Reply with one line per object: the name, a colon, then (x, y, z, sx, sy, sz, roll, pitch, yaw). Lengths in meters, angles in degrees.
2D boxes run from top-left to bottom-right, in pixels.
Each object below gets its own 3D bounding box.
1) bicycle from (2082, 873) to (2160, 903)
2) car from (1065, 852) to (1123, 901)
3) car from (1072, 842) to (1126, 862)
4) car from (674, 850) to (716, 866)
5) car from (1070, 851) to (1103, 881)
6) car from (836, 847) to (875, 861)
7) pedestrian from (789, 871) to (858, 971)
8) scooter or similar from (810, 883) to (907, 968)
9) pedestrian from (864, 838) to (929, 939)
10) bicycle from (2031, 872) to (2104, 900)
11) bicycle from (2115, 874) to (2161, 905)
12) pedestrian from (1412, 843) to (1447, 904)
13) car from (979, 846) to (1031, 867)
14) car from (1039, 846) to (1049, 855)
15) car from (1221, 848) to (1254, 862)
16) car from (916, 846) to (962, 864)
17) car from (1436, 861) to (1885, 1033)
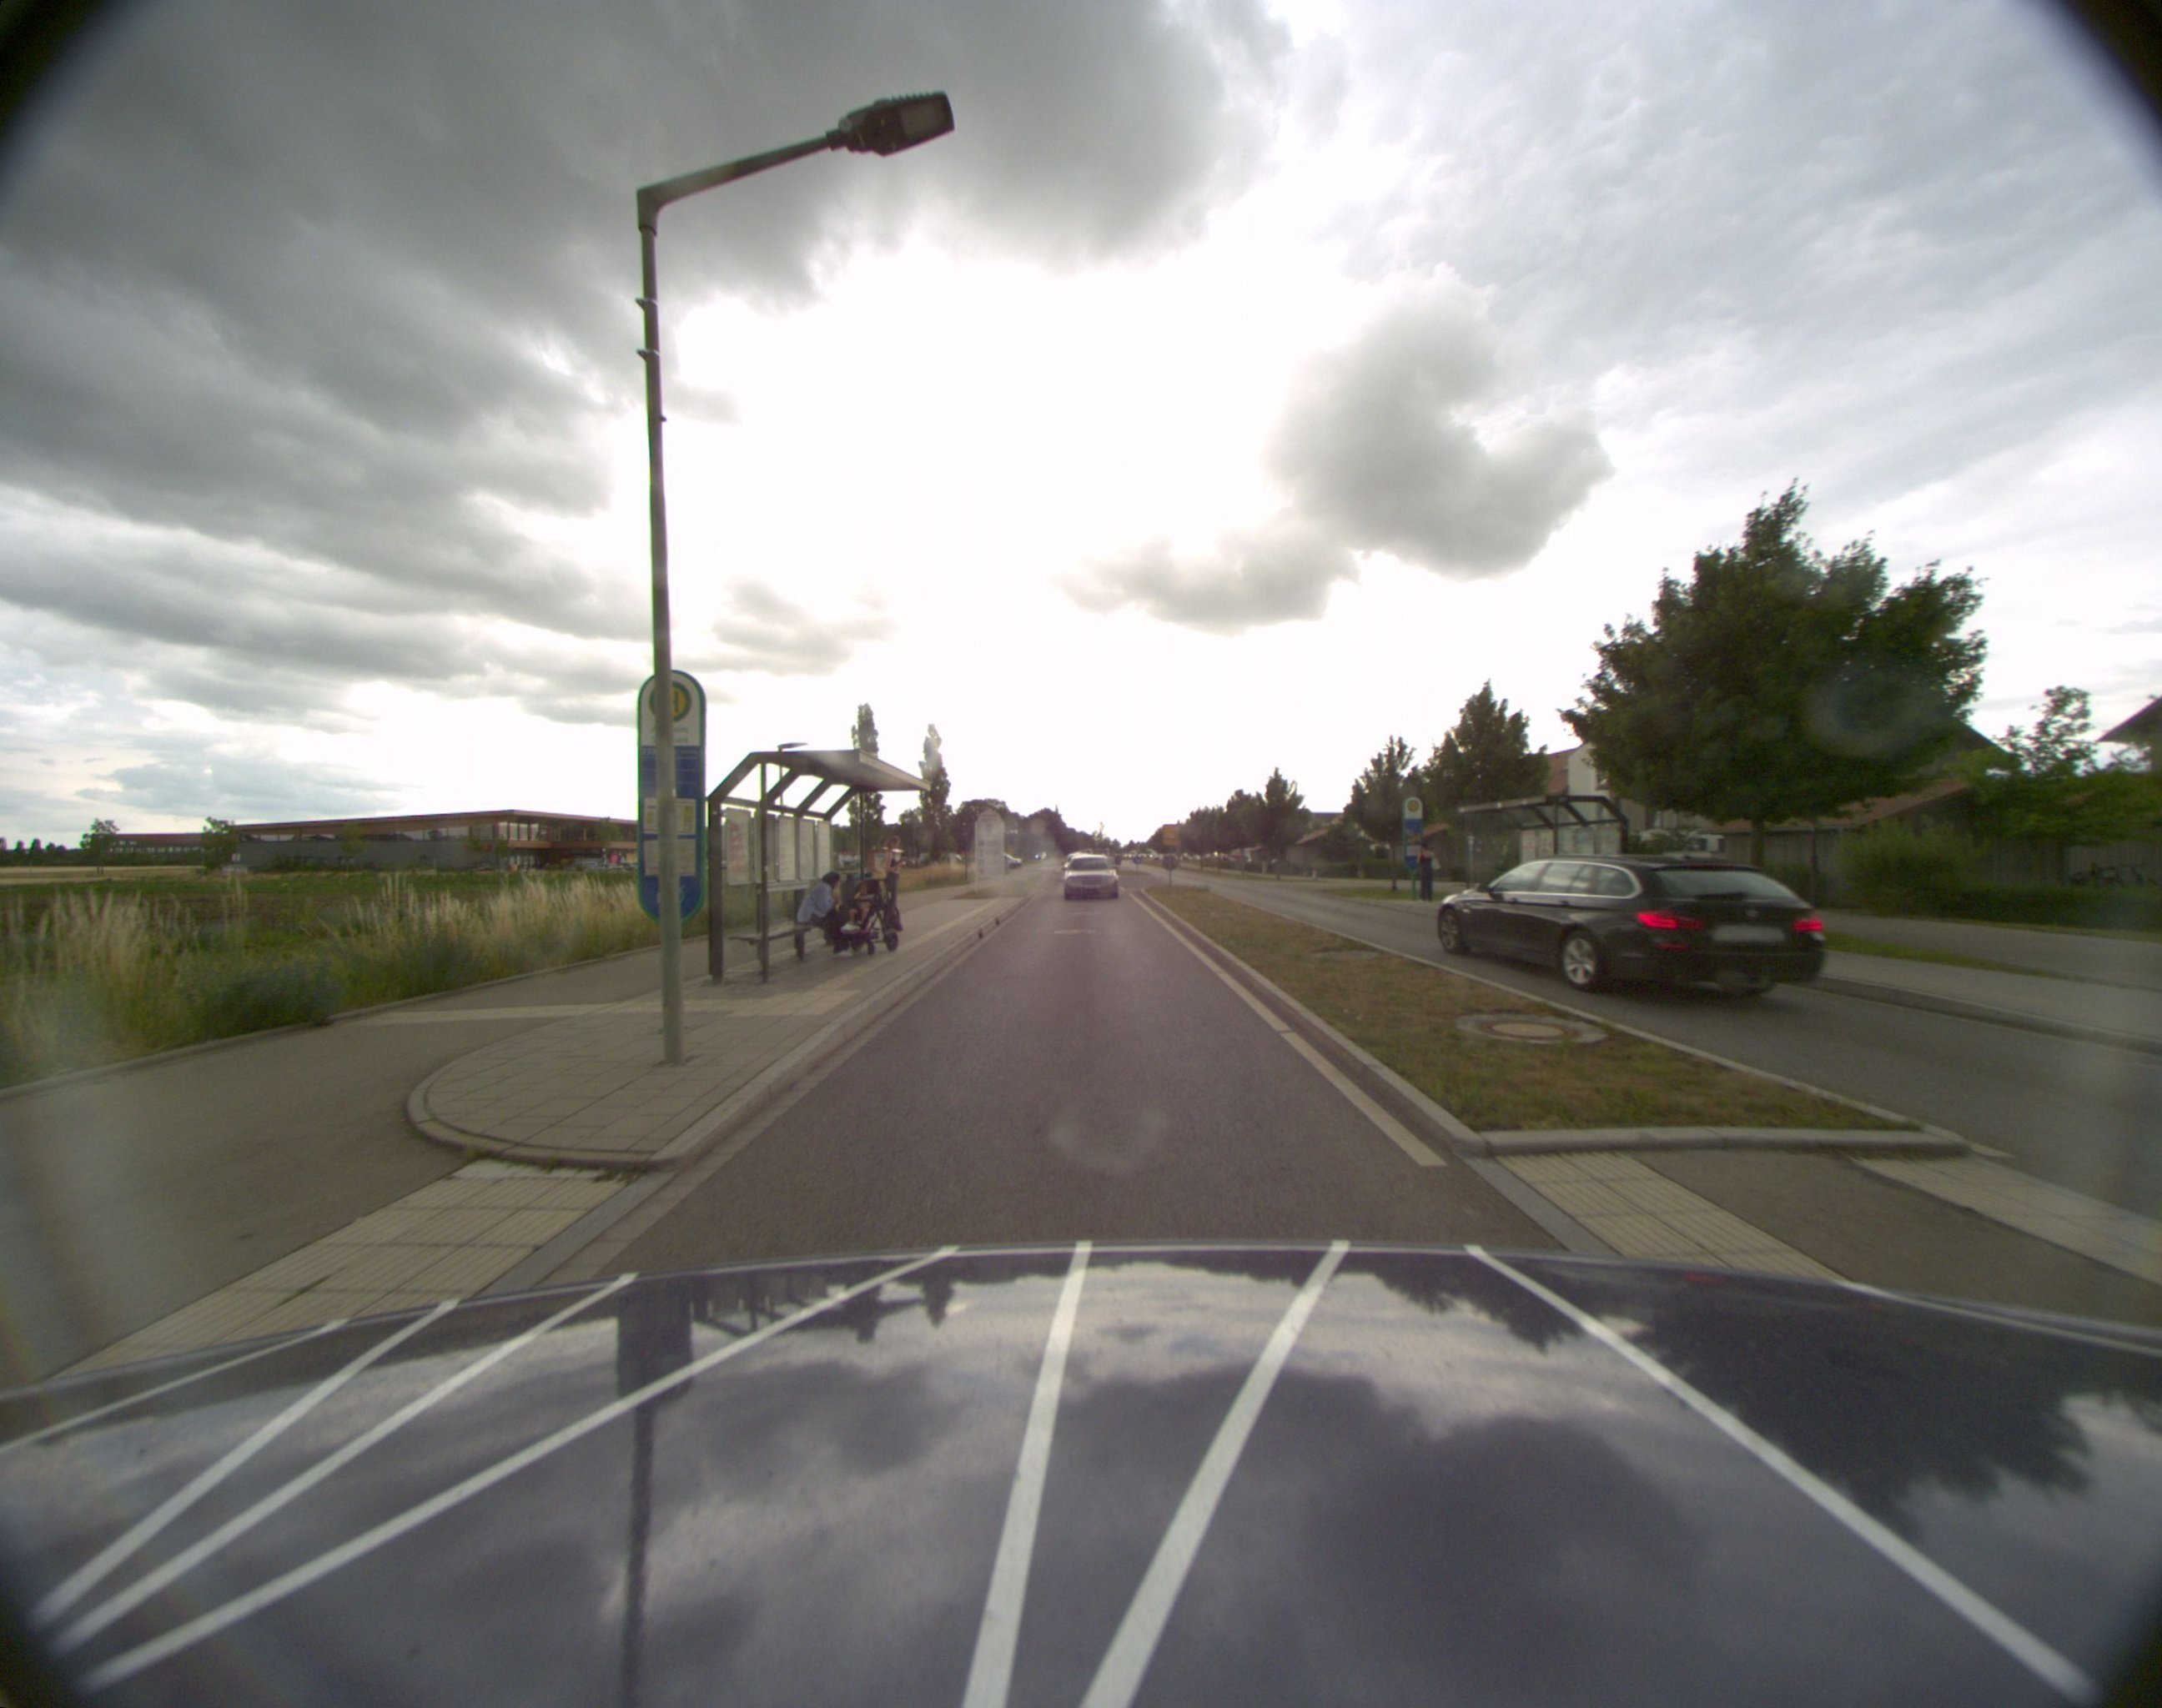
bicycle: (32.962, 1.074, 24.091, 1.946, 0.904, 0.419, -1, 1, -2)
car: (0.399, 0.706, 26.201, 1.763, 1.410, 4.519, -2, 1, 0)
car: (1.957, -0.238, 83.341, 5.325, 2.002, 2.556, -3, 1, -31)
car: (-54.345, 0.527, 107.038, 4.858, 2.002, 1.998, -2, 1, -8)
car: (0.307, 0.649, 44.180, 1.763, 1.495, 4.690, -2, 1, 0)
car: (-35.682, 0.004, 120.491, 5.527, 2.002, 1.998, -2, 1, -6)
pedestrian: (-3.513, 0.904, 10.393, 0.666, 1.295, 0.505, -2, 1, 8)
scooter or similar: (-3.133, 0.980, 10.767, 0.707, 1.056, 1.062, -1, 2, 37)
pedestrian: (-3.394, 0.623, 14.032, 0.782, 1.782, 0.780, -2, 1, 21)
bicycle: (32.951, 1.057, 25.382, 1.946, 0.904, 0.419, -1, 1, -2)
bicycle: (32.946, 1.089, 23.302, 1.946, 0.904, 0.419, -1, 1, -2)
pedestrian: (9.491, 0.518, 20.699, 0.590, 1.627, 0.812, -1, 1, 0)
car: (-8.153, 0.274, 81.632, 5.313, 2.002, 2.000, -2, 1, 1)
car: (-8.837, -0.897, 180.861, 1.998, 2.002, 3.999, -2, 1, 0)
car: (24.051, 0.114, 116.841, 4.568, 2.002, 2.000, -2, 1, 5)
car: (-18.146, 0.139, 97.040, 5.527, 2.002, 1.998, -2, 1, -6)
car: (6.175, 0.847, 8.980, 1.925, 1.445, 4.496, 0, 0, 1)
